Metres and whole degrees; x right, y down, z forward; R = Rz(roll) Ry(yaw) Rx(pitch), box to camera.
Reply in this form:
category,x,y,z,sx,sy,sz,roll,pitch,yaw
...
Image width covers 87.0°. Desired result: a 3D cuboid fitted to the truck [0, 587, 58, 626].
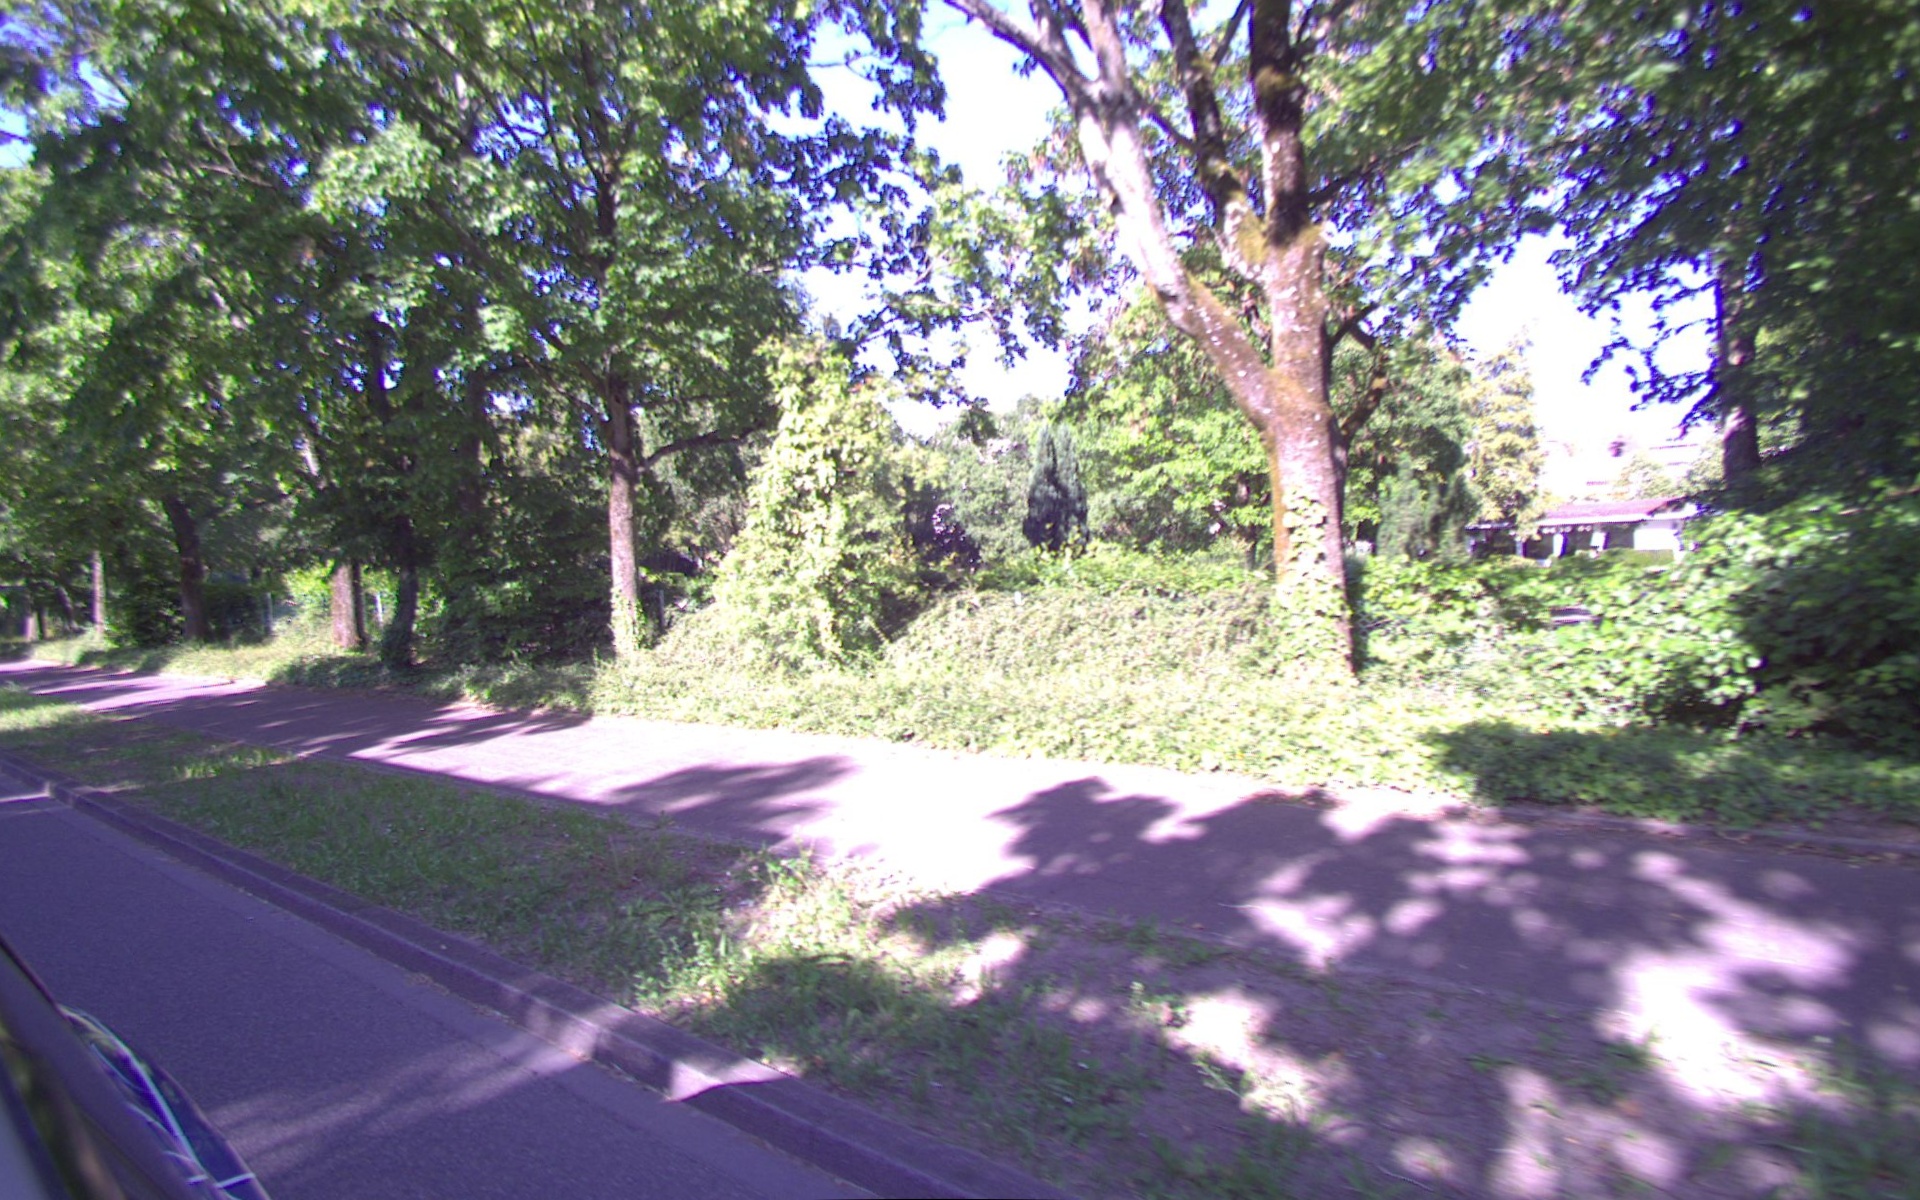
category,x,y,z,sx,sy,sz,roll,pitch,yaw
truck,-52.441,0.397,55.547,2.199,2.029,3.952,-2,0,36
